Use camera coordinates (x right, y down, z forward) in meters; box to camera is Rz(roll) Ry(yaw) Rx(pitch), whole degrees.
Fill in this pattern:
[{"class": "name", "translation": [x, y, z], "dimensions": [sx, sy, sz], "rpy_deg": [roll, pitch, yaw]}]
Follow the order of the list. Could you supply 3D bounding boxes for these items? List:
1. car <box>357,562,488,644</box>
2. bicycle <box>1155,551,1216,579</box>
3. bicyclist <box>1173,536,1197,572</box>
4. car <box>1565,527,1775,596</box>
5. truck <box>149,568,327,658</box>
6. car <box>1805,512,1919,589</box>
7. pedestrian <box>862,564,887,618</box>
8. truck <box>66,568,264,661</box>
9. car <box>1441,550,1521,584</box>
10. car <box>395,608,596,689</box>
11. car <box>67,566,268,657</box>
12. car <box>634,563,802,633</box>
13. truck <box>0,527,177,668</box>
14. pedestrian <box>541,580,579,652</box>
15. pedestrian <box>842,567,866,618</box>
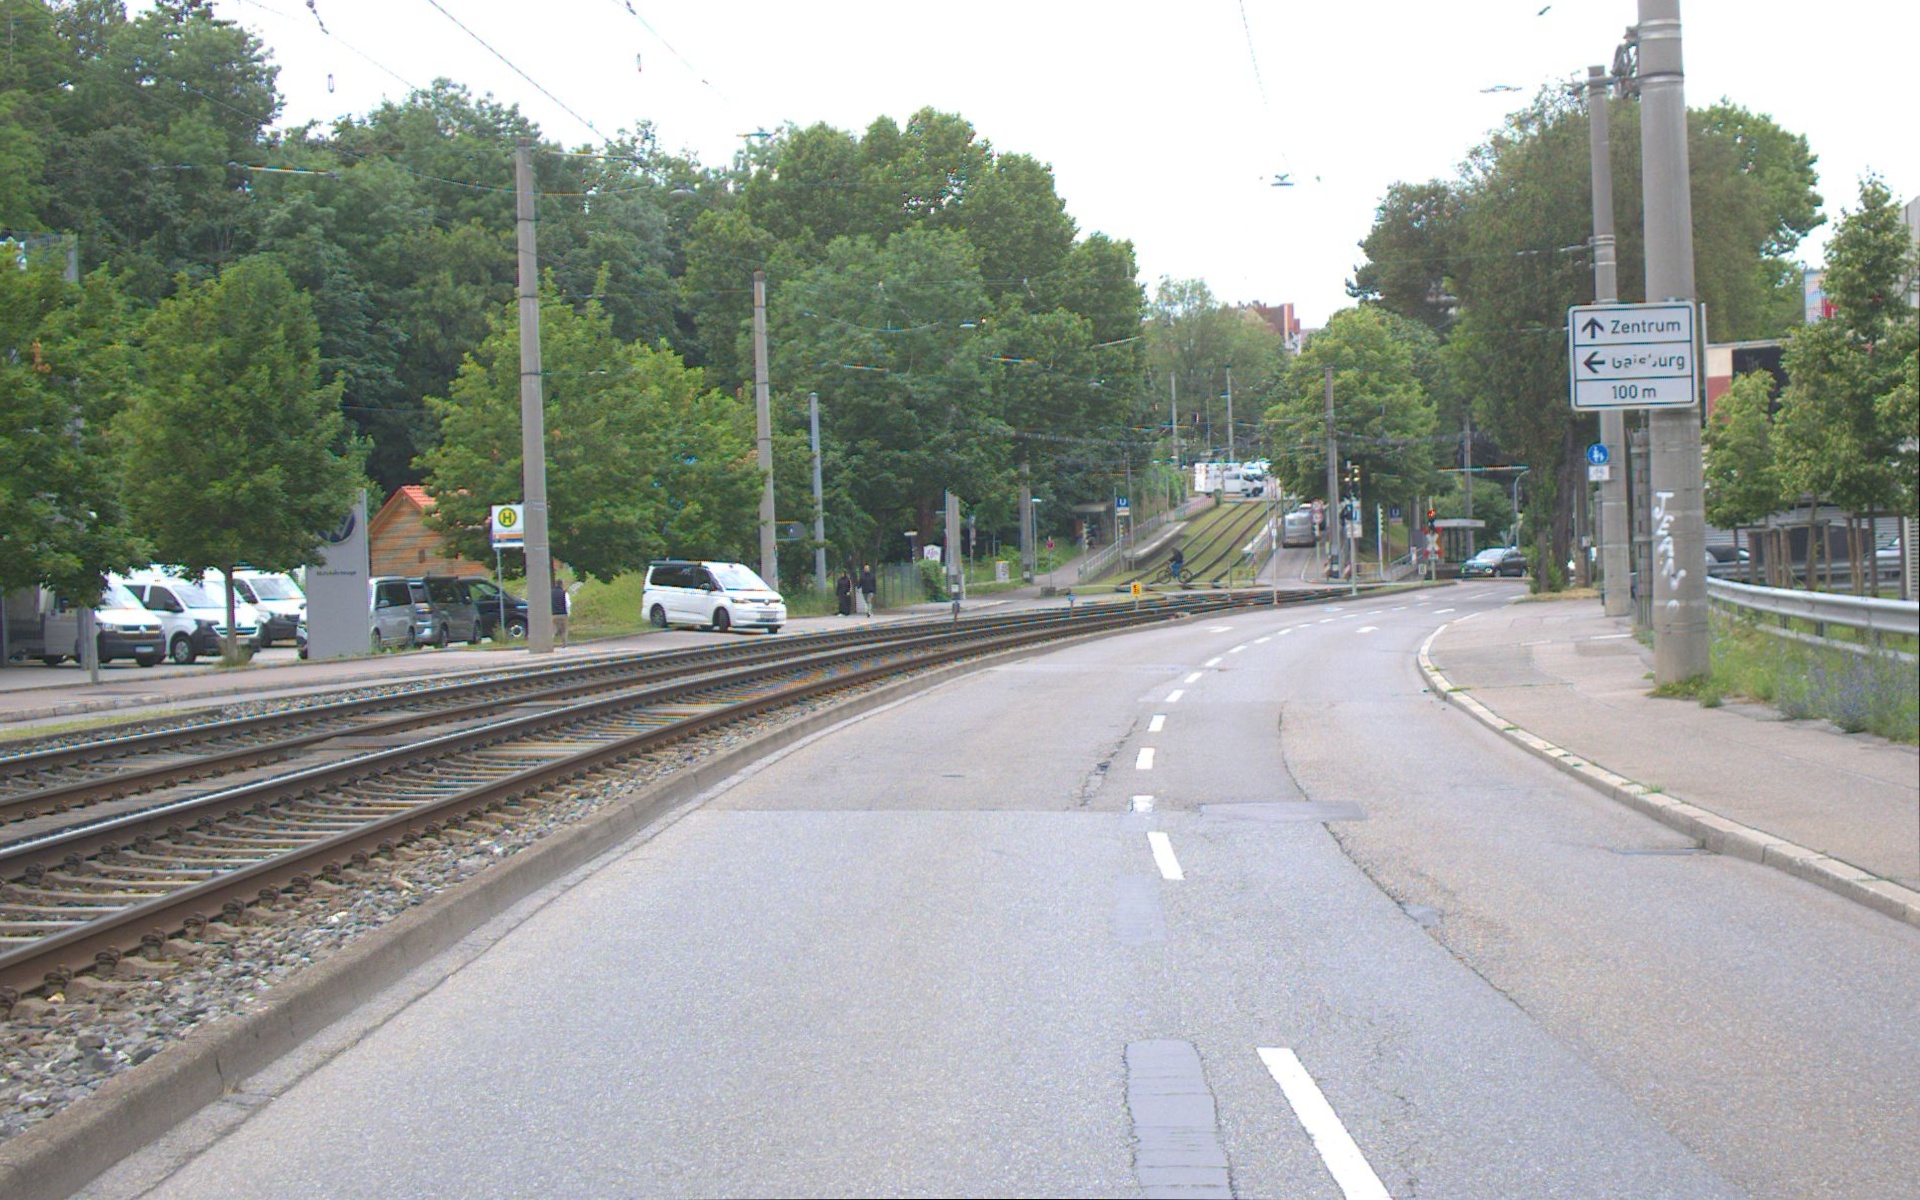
[{"class": "car", "translation": [-14.198, 0.043, 91.080], "dimensions": [1.994, 2.007, 5.128], "rpy_deg": [-2, 1, 8]}, {"class": "bicycle", "translation": [11.595, -1.799, 176.596], "dimensions": [2.986, 1.339, 0.827], "rpy_deg": [-2, 0, -8]}, {"class": "bicyclist", "translation": [11.538, -2.360, 176.566], "dimensions": [1.048, 1.843, 0.824], "rpy_deg": [-2, 0, -7]}, {"class": "car", "translation": [15.855, -0.854, 76.869], "dimensions": [4.229, 1.438, 1.759], "rpy_deg": [-1, 1, 38]}, {"class": "truck", "translation": [-22.280, 0.412, 105.978], "dimensions": [5.065, 2.579, 2.464], "rpy_deg": [-2, 1, 34]}, {"class": "car", "translation": [21.021, -1.126, 74.902], "dimensions": [4.505, 1.543, 2.161], "rpy_deg": [-3, -1, -15]}, {"class": "pedestrian", "translation": [-2.906, -0.304, 116.802], "dimensions": [0.677, 1.807, 0.855], "rpy_deg": [0, 1, 12]}, {"class": "truck", "translation": [-23.995, 0.444, 103.662], "dimensions": [5.770, 2.579, 2.464], "rpy_deg": [-2, 1, 34]}, {"class": "car", "translation": [25.473, -1.610, 168.118], "dimensions": [1.691, 1.527, 4.245], "rpy_deg": [-6, -3, 42]}, {"class": "car", "translation": [-12.984, 1.328, 96.081], "dimensions": [5.055, 2.007, 2.167], "rpy_deg": [-2, 1, -27]}, {"class": "car", "translation": [-18.820, 0.275, 81.544], "dimensions": [4.725, 2.007, 1.996], "rpy_deg": [-2, 1, 36]}, {"class": "car", "translation": [-6.907, -0.084, 97.707], "dimensions": [2.160, 1.881, 5.070], "rpy_deg": [0, 1, -41]}, {"class": "truck", "translation": [-20.890, -0.031, 79.479], "dimensions": [5.932, 3.074, 2.115], "rpy_deg": [-1, 1, 39]}, {"class": "pedestrian", "translation": [-9.362, 0.364, 80.454], "dimensions": [0.718, 1.650, 1.042], "rpy_deg": [0, 1, 2]}, {"class": "pedestrian", "translation": [-3.620, -0.257, 116.946], "dimensions": [0.628, 1.707, 0.855], "rpy_deg": [0, 1, 12]}]
